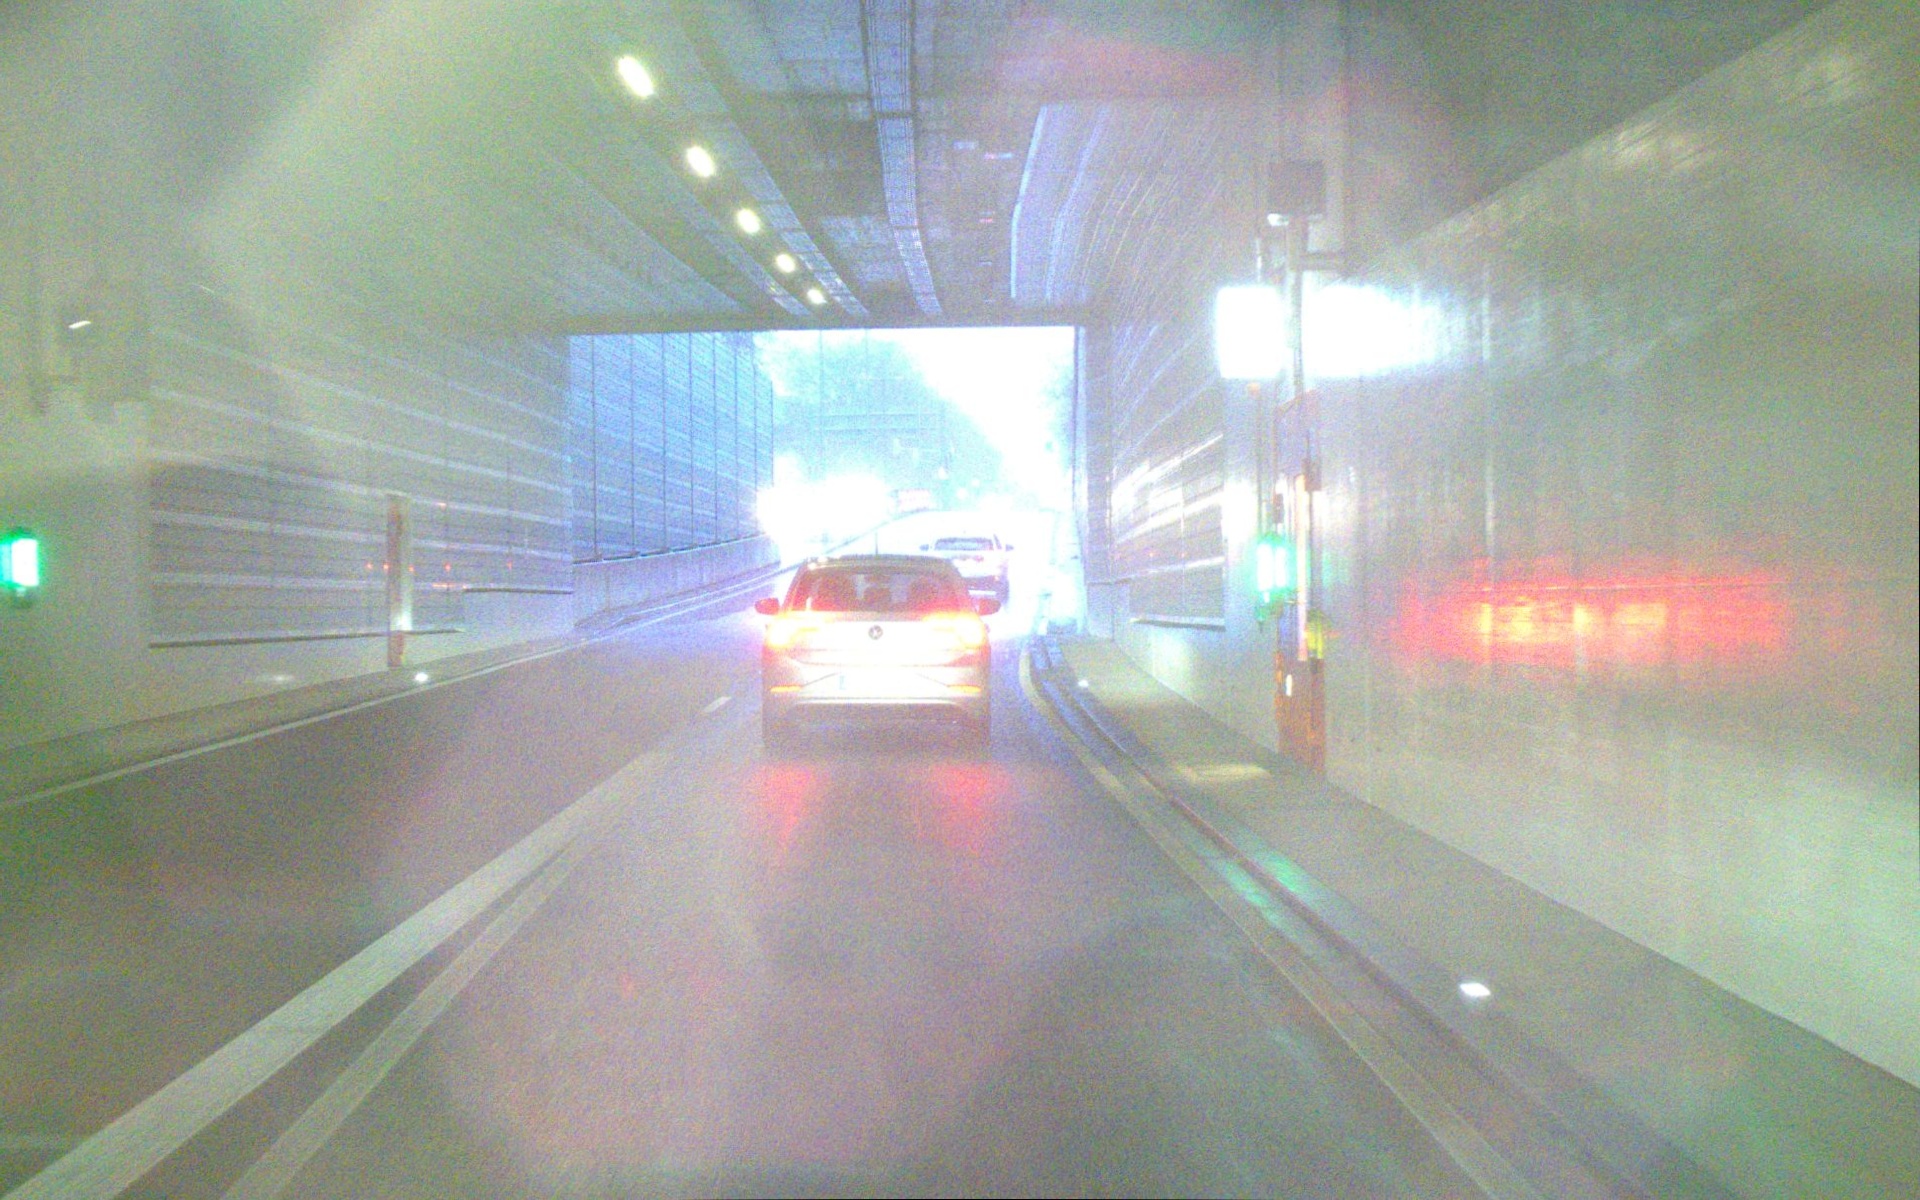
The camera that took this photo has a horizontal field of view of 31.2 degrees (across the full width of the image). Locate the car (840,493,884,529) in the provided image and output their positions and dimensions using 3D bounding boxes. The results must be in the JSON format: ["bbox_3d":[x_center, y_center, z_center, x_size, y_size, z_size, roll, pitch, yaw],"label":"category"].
[{"bbox_3d":[-4.845,-4.422,170.664,1.880,1.615,4.000,1,0,2],"label":"car"}]

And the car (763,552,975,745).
[{"bbox_3d":[-0.698,0.338,26.765,1.532,1.392,3.434,1,0,-1],"label":"car"}]

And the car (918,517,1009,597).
[{"bbox_3d":[0.064,-0.911,74.372,1.880,1.615,4.000,1,0,0],"label":"car"}]
